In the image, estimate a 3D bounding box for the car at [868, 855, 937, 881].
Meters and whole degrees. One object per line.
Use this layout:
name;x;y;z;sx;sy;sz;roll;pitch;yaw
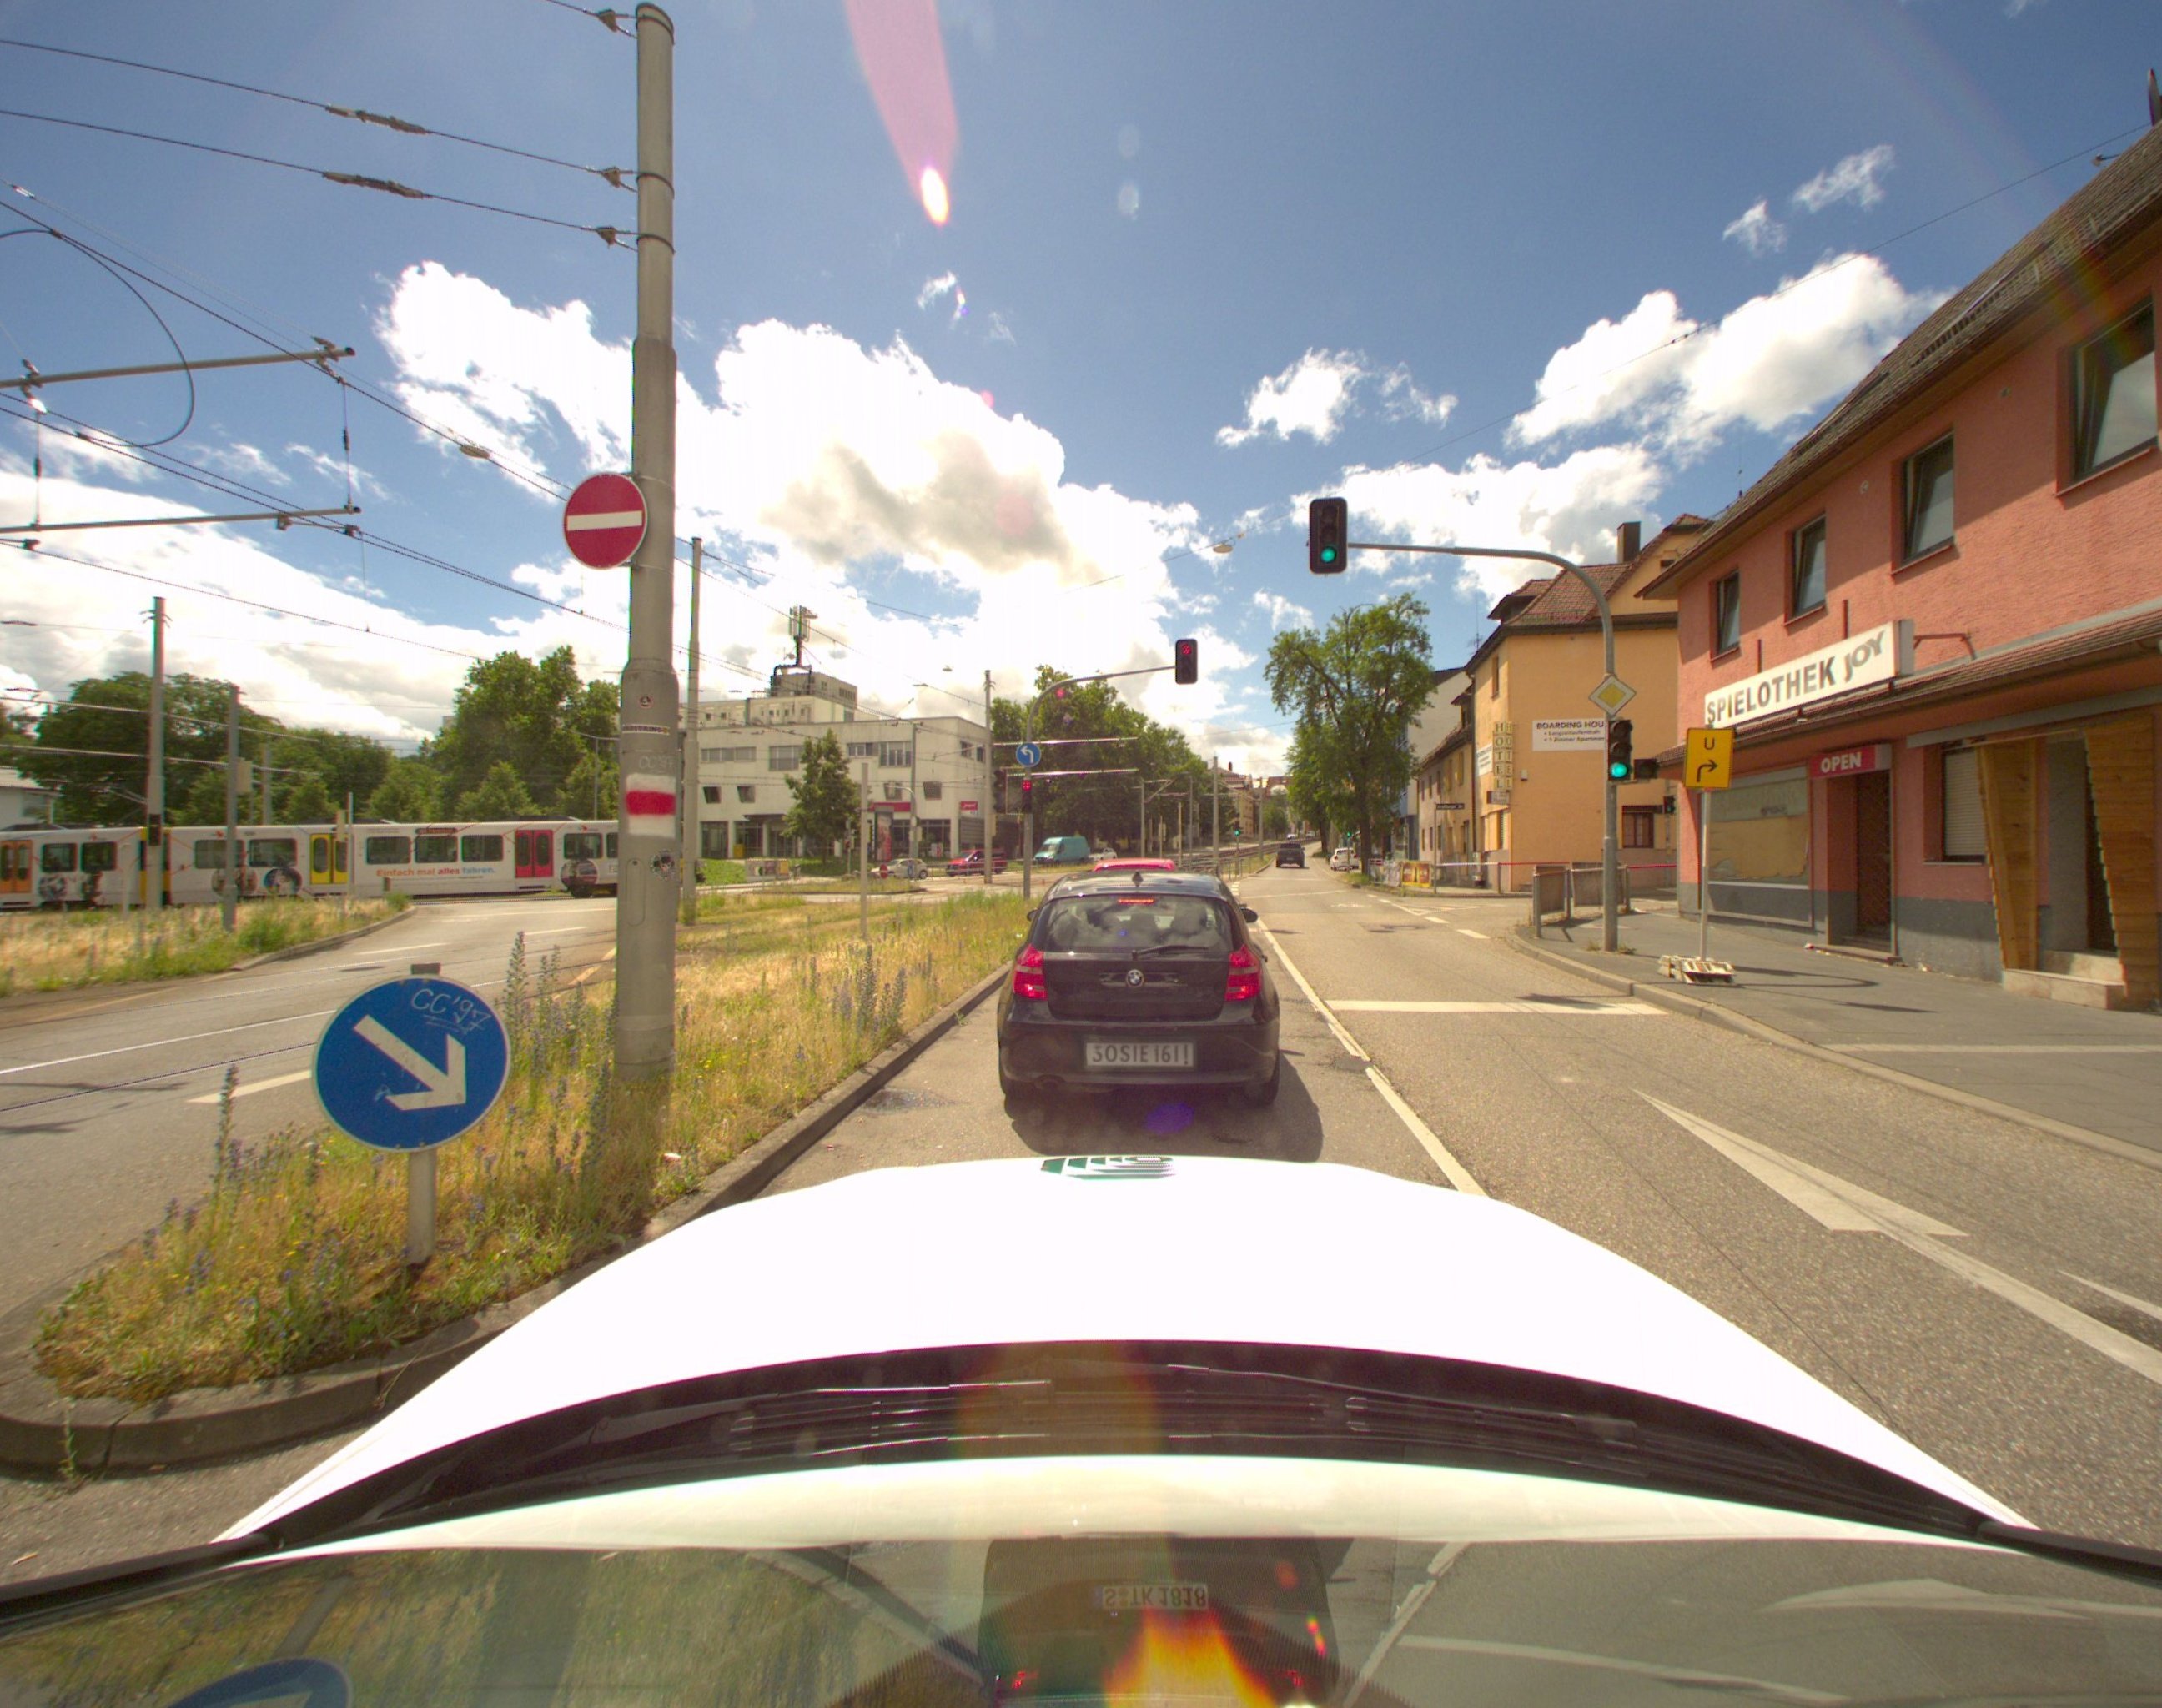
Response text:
car;-11.923;0.918;54.617;4.194;1.585;1.835;-1;-1;-45

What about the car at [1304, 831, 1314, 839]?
car;57.677;-4.812;206.028;1.976;2.014;4.022;-2;-1;23

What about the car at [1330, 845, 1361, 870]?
car;18.024;0.217;55.686;1.774;1.596;4.016;-2;-1;15

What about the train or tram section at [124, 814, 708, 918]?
train or tram section;-27.715;0.377;35.937;20.025;3.814;3.741;-1;-1;-16

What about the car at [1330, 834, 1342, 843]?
car;50.854;-3.112;162.403;1.977;1.662;4.020;-2;-1;20

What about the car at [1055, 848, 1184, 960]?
car;0.759;0.704;12.929;1.616;1.473;4.009;-2;-1;8

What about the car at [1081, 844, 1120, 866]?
car;1.833;0.095;73.949;1.836;1.928;4.824;-2;-1;24

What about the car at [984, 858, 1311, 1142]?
car;0.344;0.800;6.322;1.696;1.452;3.999;-2;-1;0

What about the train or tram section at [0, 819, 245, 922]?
train or tram section;-46.751;0.912;34.240;20.475;3.879;3.765;-2;-1;4

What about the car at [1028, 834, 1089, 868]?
car;-1.838;-0.241;68.008;2.110;2.654;5.726;-2;-1;33

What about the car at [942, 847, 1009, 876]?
car;-7.650;0.511;59.509;1.835;2.009;4.828;-3;-1;40

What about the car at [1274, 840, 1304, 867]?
car;15.372;-0.011;60.171;1.984;1.887;5.170;-2;-1;14

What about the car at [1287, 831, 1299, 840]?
car;48.642;-4.269;186.923;1.976;2.014;4.022;-2;-1;23
